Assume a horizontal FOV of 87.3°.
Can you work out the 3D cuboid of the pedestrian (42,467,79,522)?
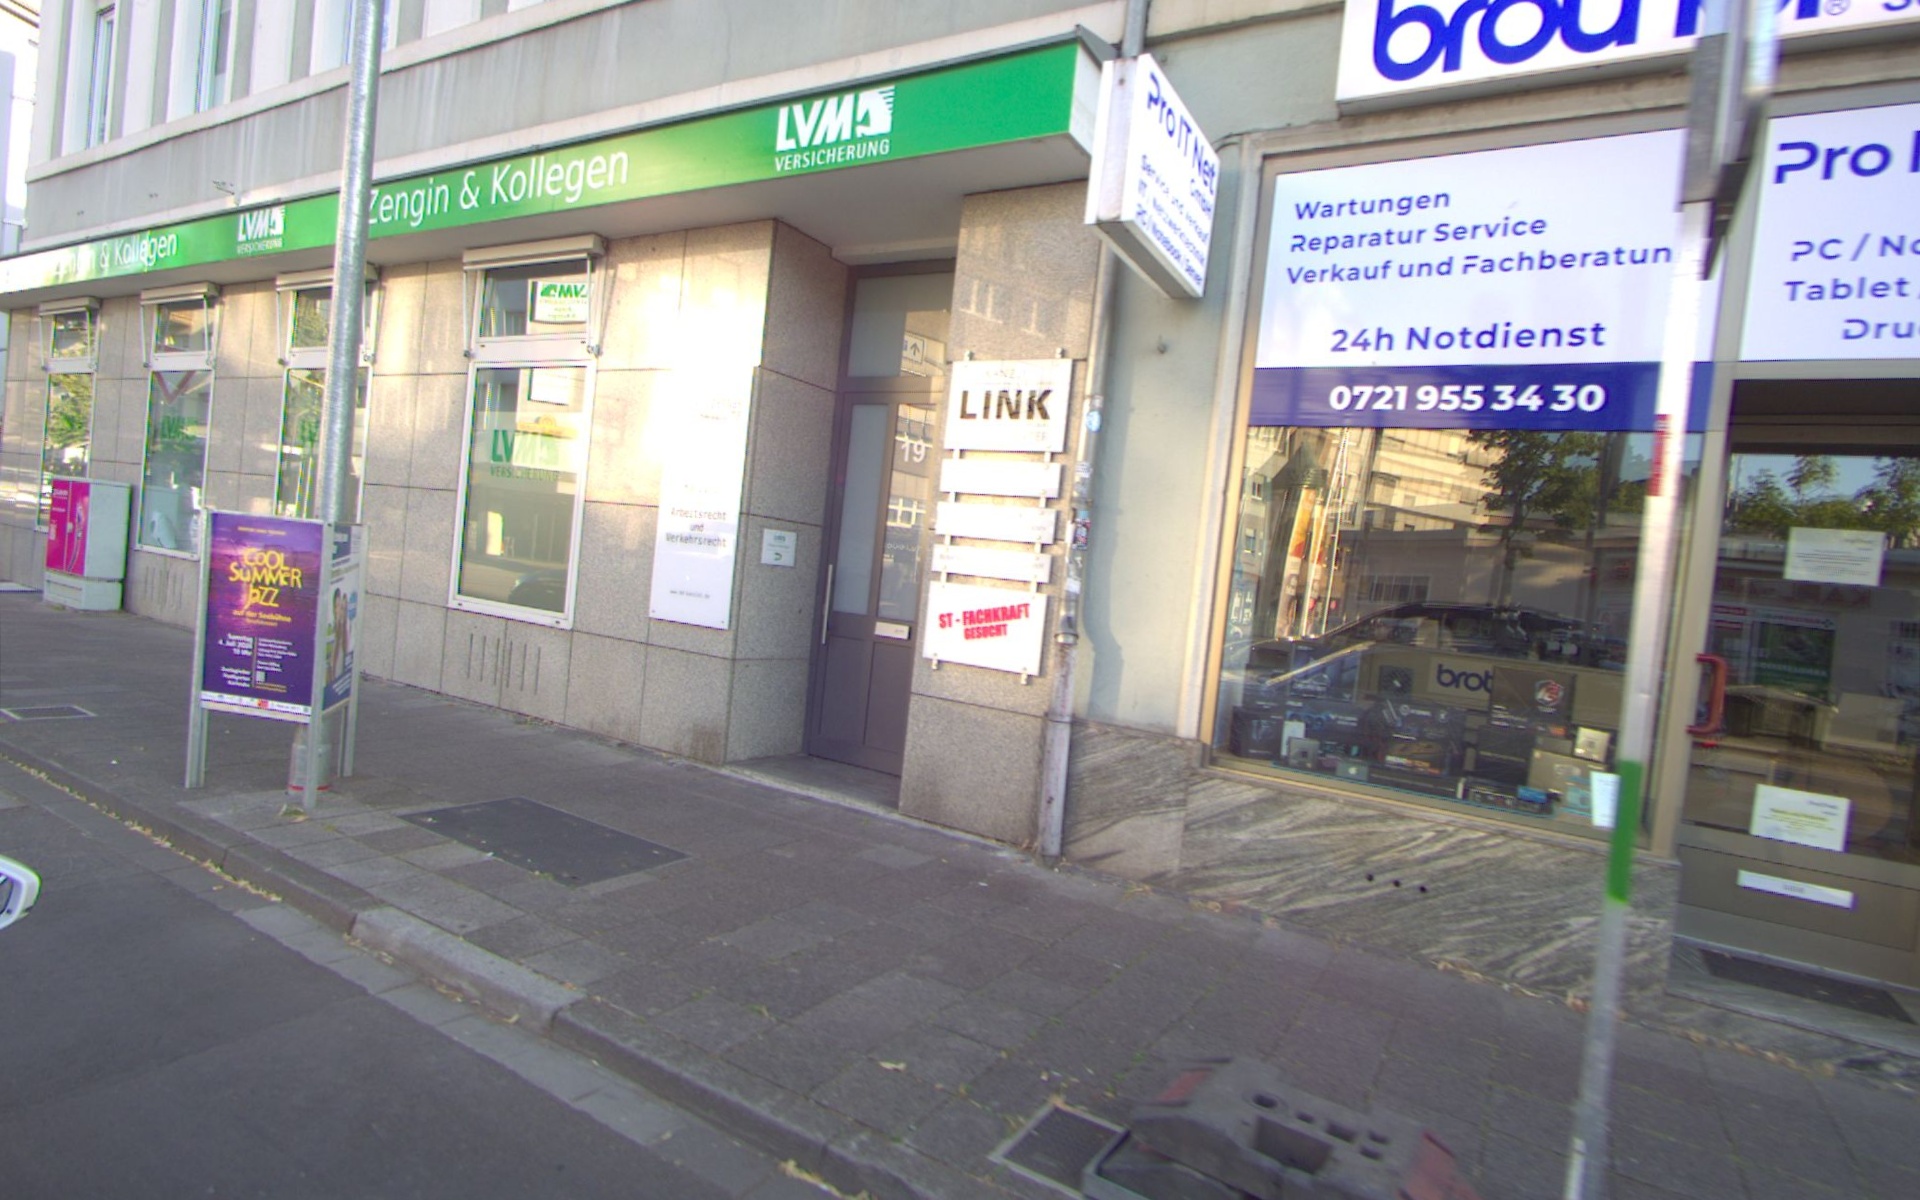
[{"bbox_3d":[-30.986,-3.629,34.657,0.629,1.802,0.598,6,2,-17],"label":"pedestrian"}]

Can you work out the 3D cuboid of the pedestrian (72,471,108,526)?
[{"bbox_3d":[-30.237,-3.518,34.962,0.628,1.767,0.666,6,2,-17],"label":"pedestrian"}]
